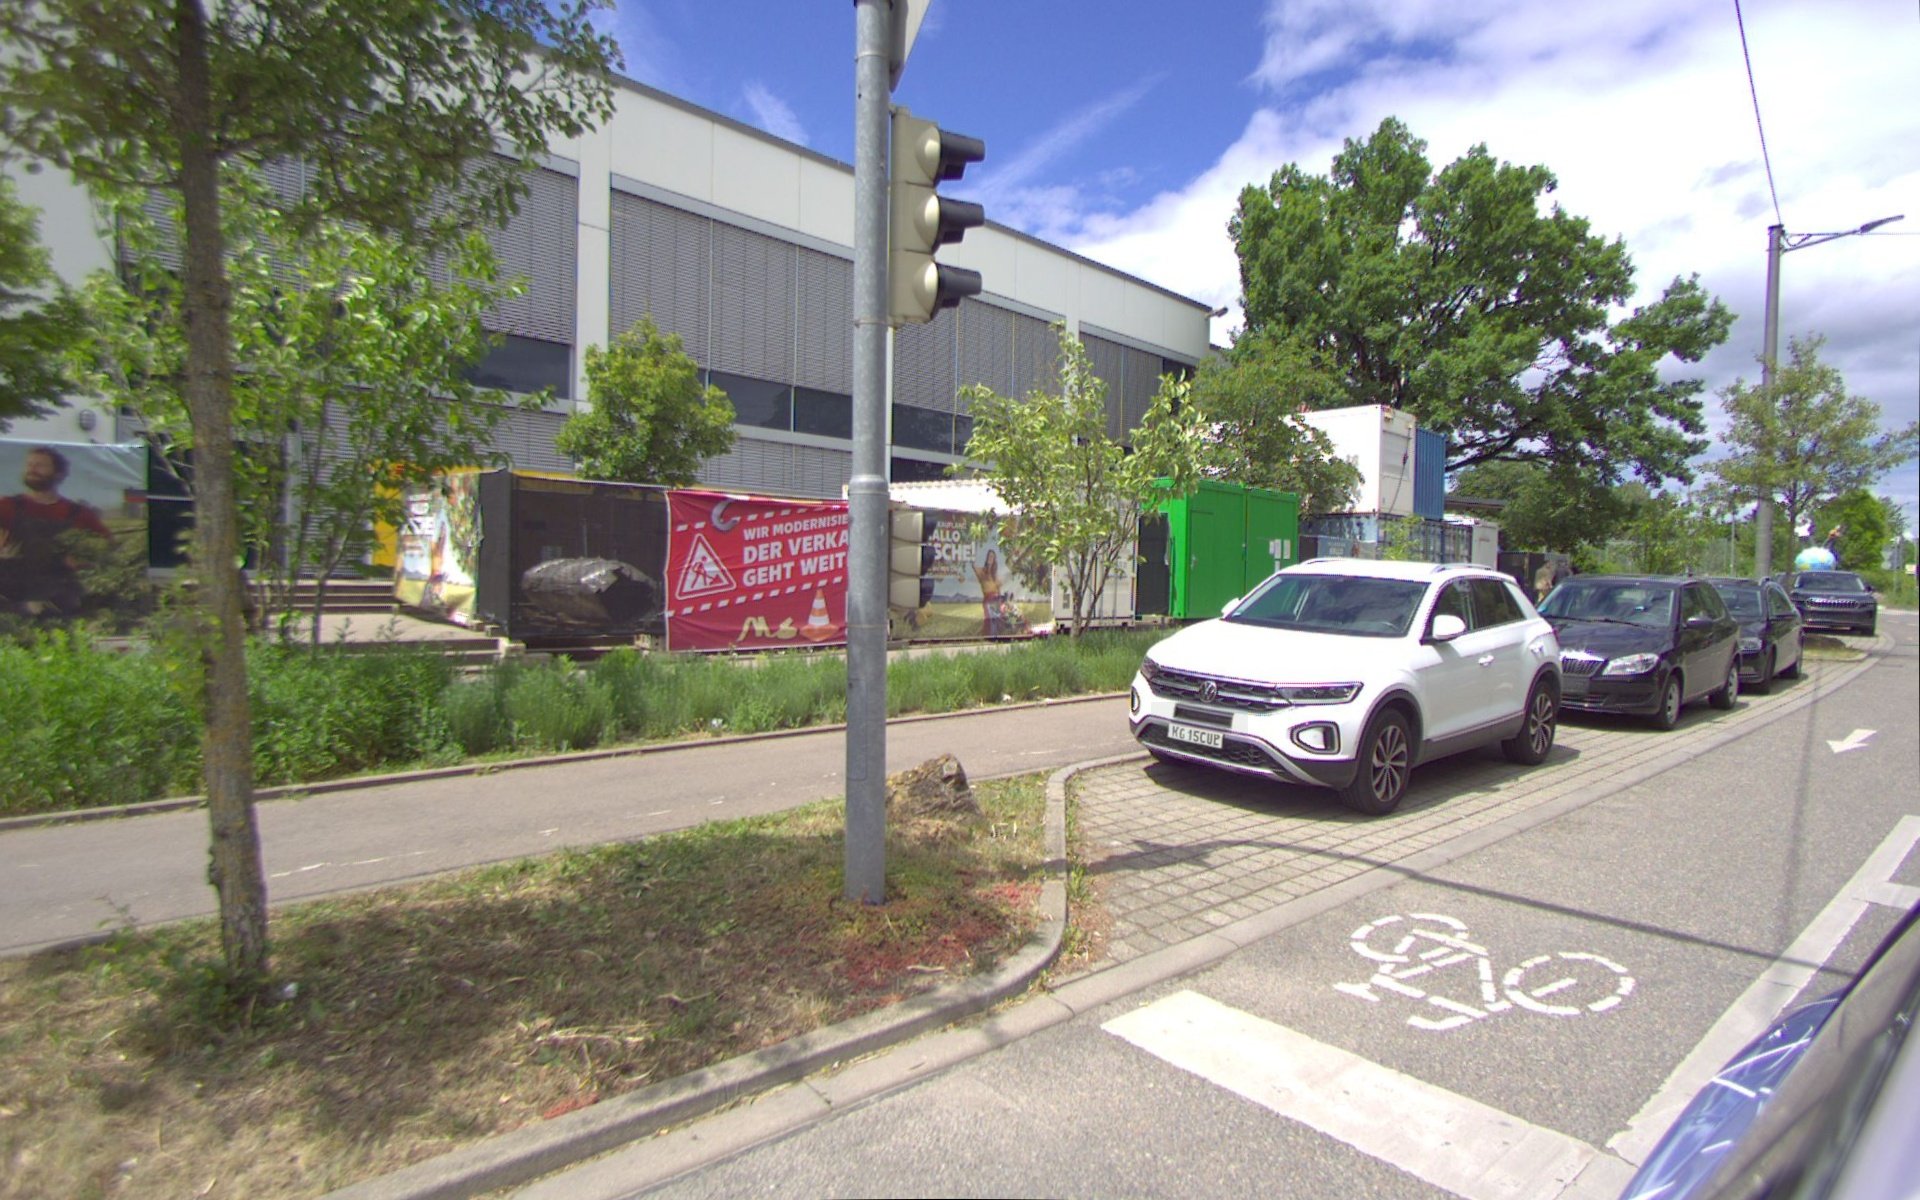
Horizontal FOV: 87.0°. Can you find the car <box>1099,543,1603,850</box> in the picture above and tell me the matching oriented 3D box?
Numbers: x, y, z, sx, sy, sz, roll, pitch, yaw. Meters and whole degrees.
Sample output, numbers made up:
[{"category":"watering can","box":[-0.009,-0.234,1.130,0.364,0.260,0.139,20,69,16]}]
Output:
[{"category":"car","box":[3.139,0.442,7.648,4.312,1.635,1.740,-2,6,-42]}]

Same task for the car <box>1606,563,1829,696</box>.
[{"category":"car","box":[11.005,0.272,14.552,4.855,1.494,1.767,-2,6,-44]}]

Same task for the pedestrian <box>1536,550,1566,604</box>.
[{"category":"pedestrian","box":[18.974,-0.738,32.471,0.713,1.717,0.651,-2,2,-45]}]

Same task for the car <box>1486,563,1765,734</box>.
[{"category":"car","box":[7.424,0.379,11.144,3.932,1.511,1.571,-2,4,-42]}]

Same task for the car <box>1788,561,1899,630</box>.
[{"category":"car","box":[23.797,-0.205,27.416,1.875,1.641,4.782,4,4,37]}]

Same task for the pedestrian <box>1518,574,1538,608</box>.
[{"category":"pedestrian","box":[18.292,-0.287,32.590,0.558,1.071,0.411,-2,2,-45]}]

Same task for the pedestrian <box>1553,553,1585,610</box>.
[{"category":"pedestrian","box":[18.782,-0.587,31.196,0.831,1.718,0.652,-2,2,-45]}]

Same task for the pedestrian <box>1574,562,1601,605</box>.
[{"category":"pedestrian","box":[24.757,-0.660,39.936,0.755,1.638,0.743,-2,2,-44]}]
